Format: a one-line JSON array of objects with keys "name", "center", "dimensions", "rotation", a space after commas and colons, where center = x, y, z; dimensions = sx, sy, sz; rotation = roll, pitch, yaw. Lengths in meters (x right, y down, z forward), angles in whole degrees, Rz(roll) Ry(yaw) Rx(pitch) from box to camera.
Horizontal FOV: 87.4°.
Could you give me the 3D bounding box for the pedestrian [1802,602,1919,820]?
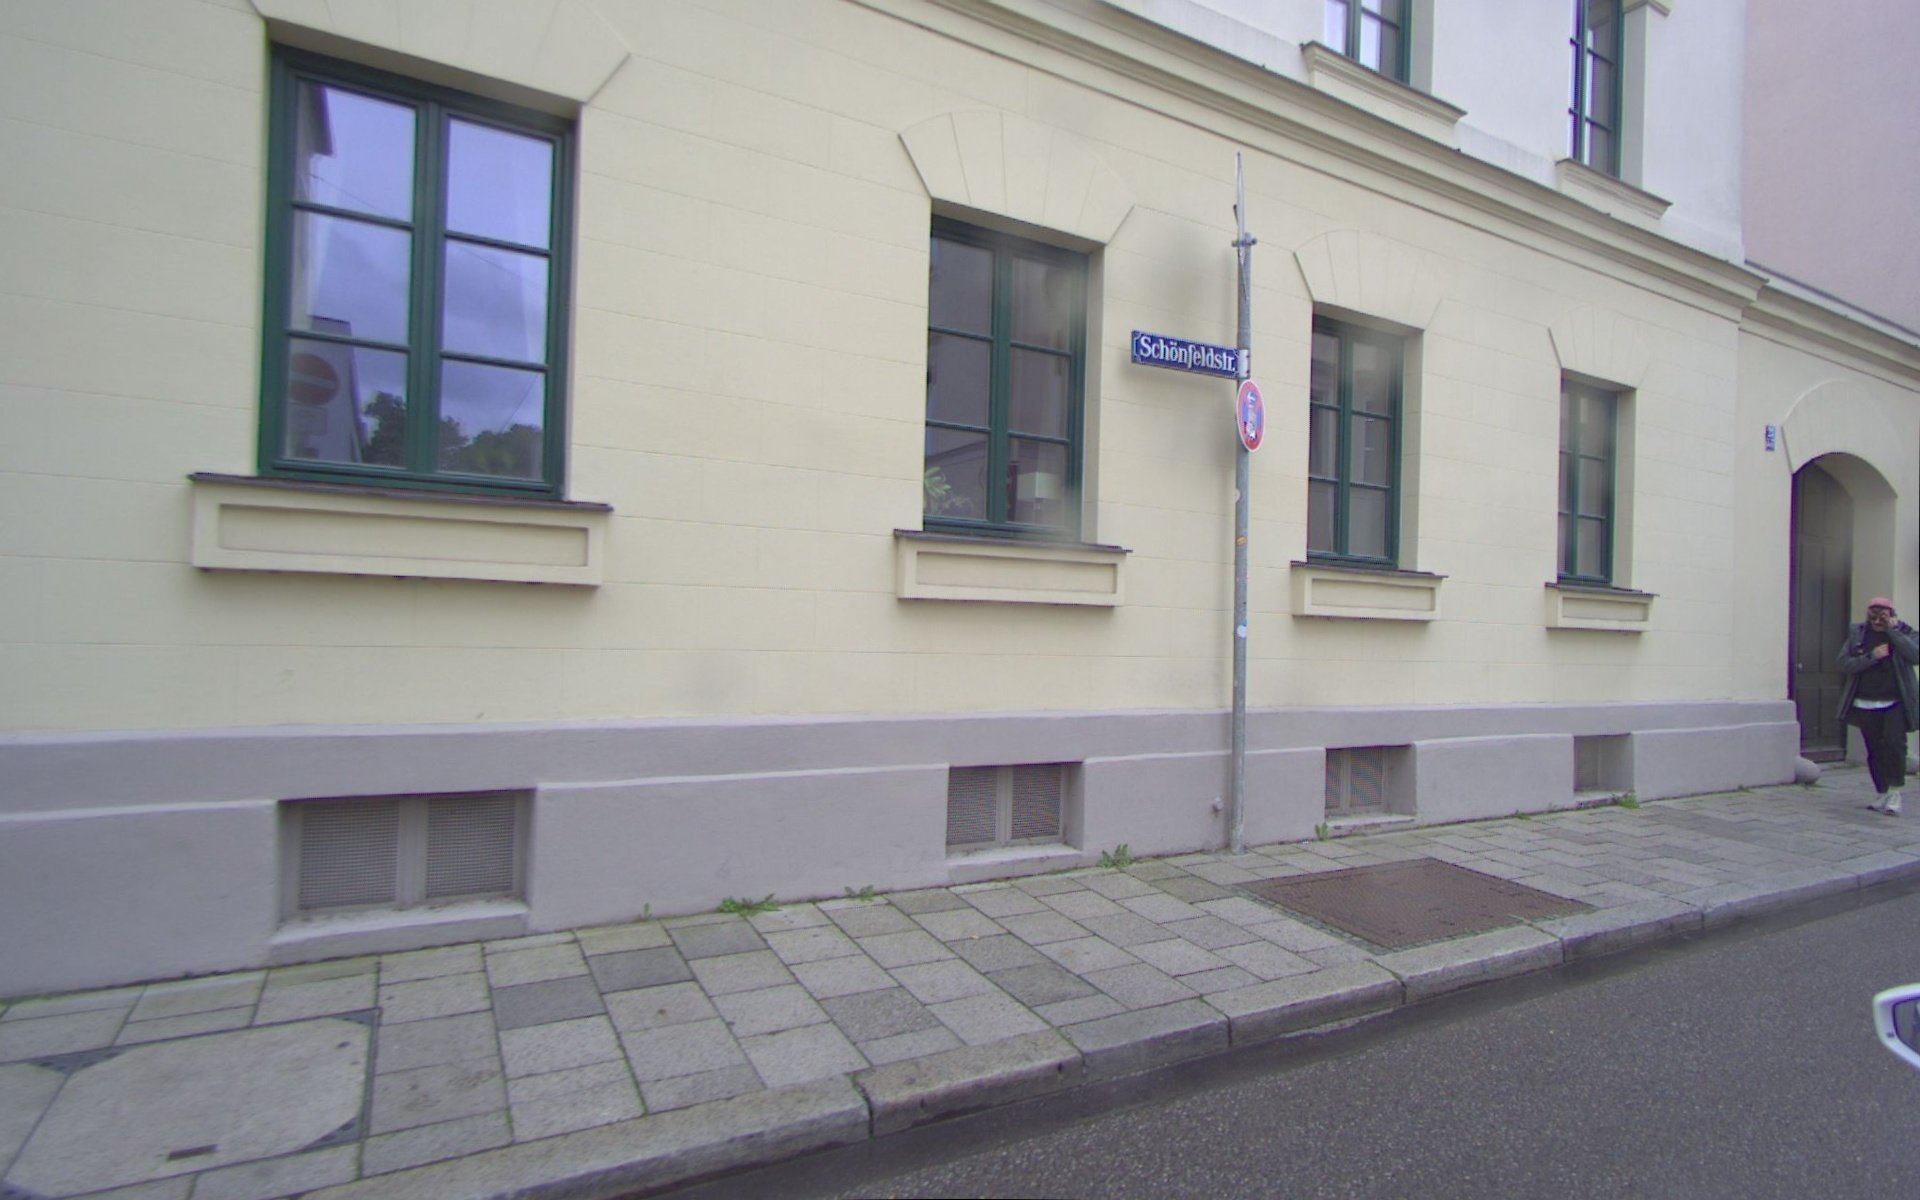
[{"name": "pedestrian", "center": [8.109, 0.917, 8.828], "dimensions": [0.978, 1.779, 0.805], "rotation": [0, 0, -31]}]
